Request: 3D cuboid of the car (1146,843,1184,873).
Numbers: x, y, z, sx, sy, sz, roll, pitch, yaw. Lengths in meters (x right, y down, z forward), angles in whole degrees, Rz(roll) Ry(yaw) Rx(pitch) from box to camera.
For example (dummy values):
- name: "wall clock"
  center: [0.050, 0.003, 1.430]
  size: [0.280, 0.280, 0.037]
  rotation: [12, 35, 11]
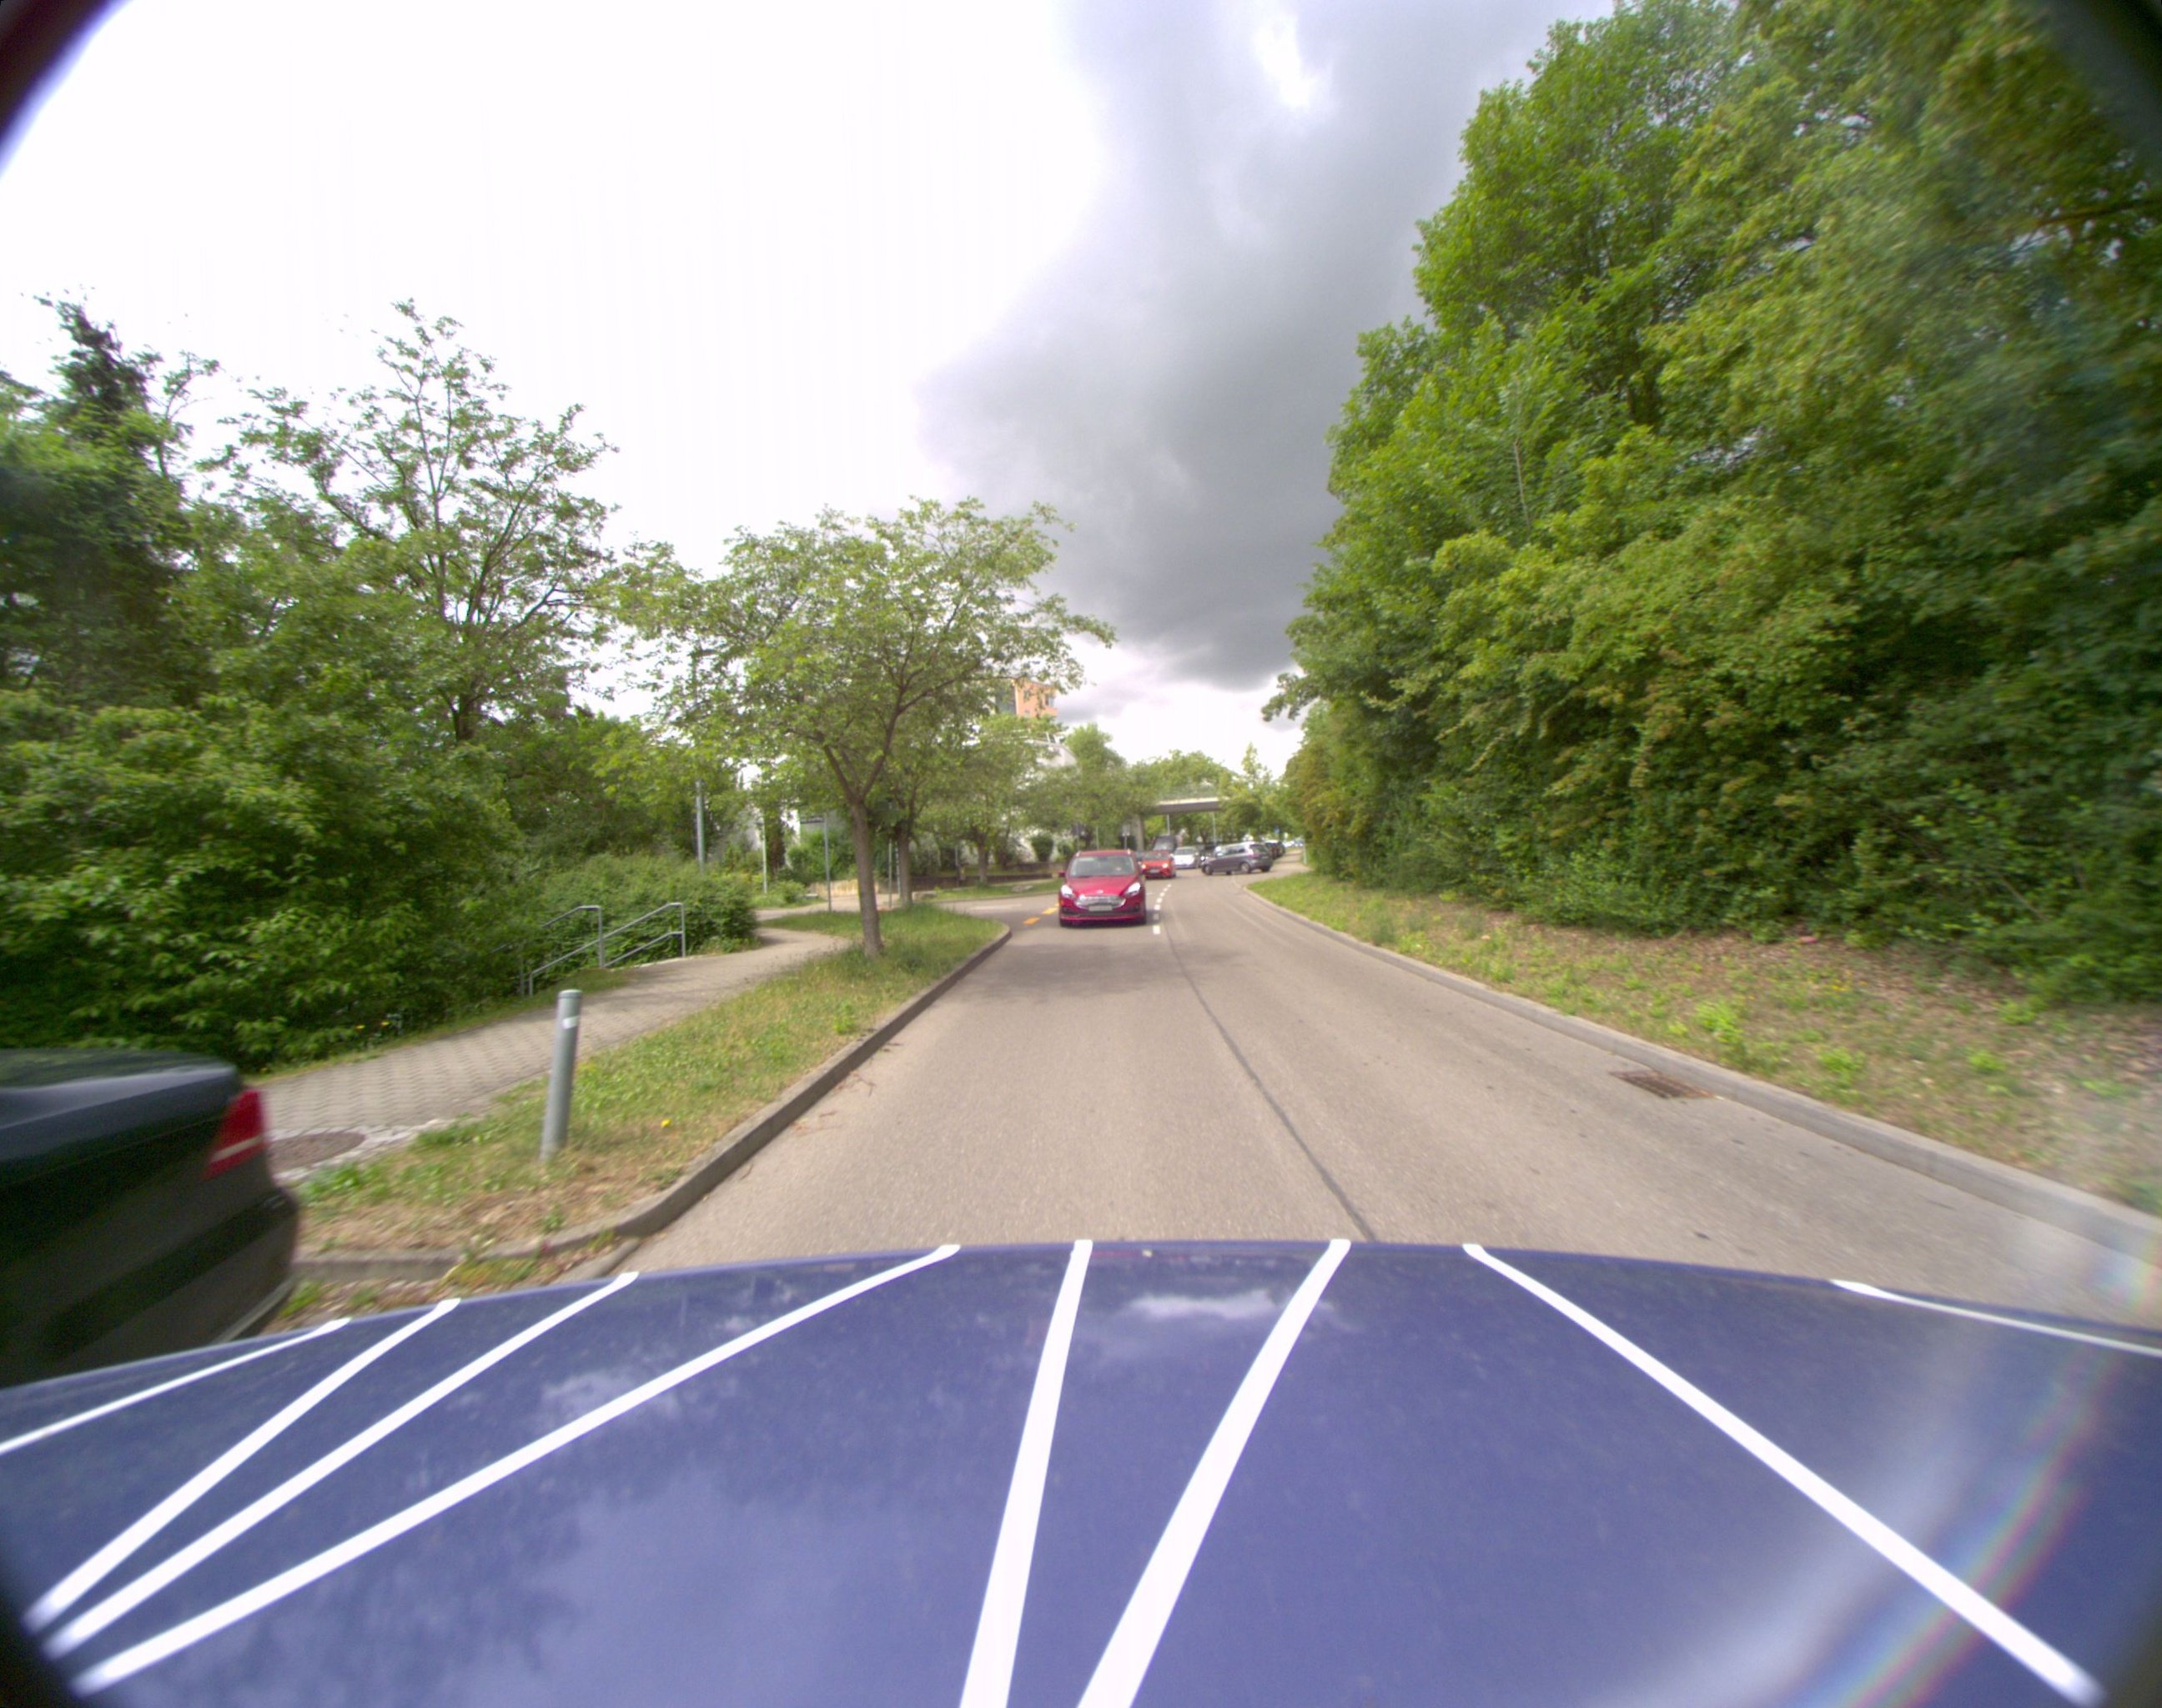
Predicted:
- name: "car"
  center: [4.426, 0.161, 40.321]
  size: [1.861, 1.434, 4.001]
  rotation: [-3, 1, 6]

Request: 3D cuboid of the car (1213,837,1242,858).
- name: "car"
  center: [11.181, -0.538, 57.901]
  size: [1.844, 1.447, 3.655]
  rotation: [-3, 1, 15]

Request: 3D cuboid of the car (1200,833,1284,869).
- name: "car"
  center: [8.489, -0.132, 40.247]
  size: [1.761, 1.652, 4.110]
  rotation: [-3, -2, -38]

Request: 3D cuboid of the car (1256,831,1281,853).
- name: "car"
  center: [15.335, -0.971, 62.045]
  size: [1.811, 1.575, 3.989]
  rotation: [-5, 0, 15]

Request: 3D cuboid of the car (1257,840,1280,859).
- name: "car"
  center: [16.810, -0.442, 67.916]
  size: [1.811, 1.472, 4.490]
  rotation: [-5, 1, 15]

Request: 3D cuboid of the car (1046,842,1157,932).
- name: "car"
  center: [0.567, 0.623, 16.416]
  size: [1.811, 1.600, 3.724]
  rotation: [-4, 1, 9]

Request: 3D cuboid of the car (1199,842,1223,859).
- name: "car"
  center: [11.883, -0.306, 69.130]
  size: [1.778, 1.411, 4.006]
  rotation: [1, -1, 15]

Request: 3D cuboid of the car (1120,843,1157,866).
- name: "car"
  center: [3.821, 0.008, 50.229]
  size: [1.693, 1.412, 4.004]
  rotation: [-2, 1, 15]

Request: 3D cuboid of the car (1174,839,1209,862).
- name: "car"
  center: [7.902, -0.269, 54.204]
  size: [1.778, 1.443, 4.004]
  rotation: [-3, 1, 18]
